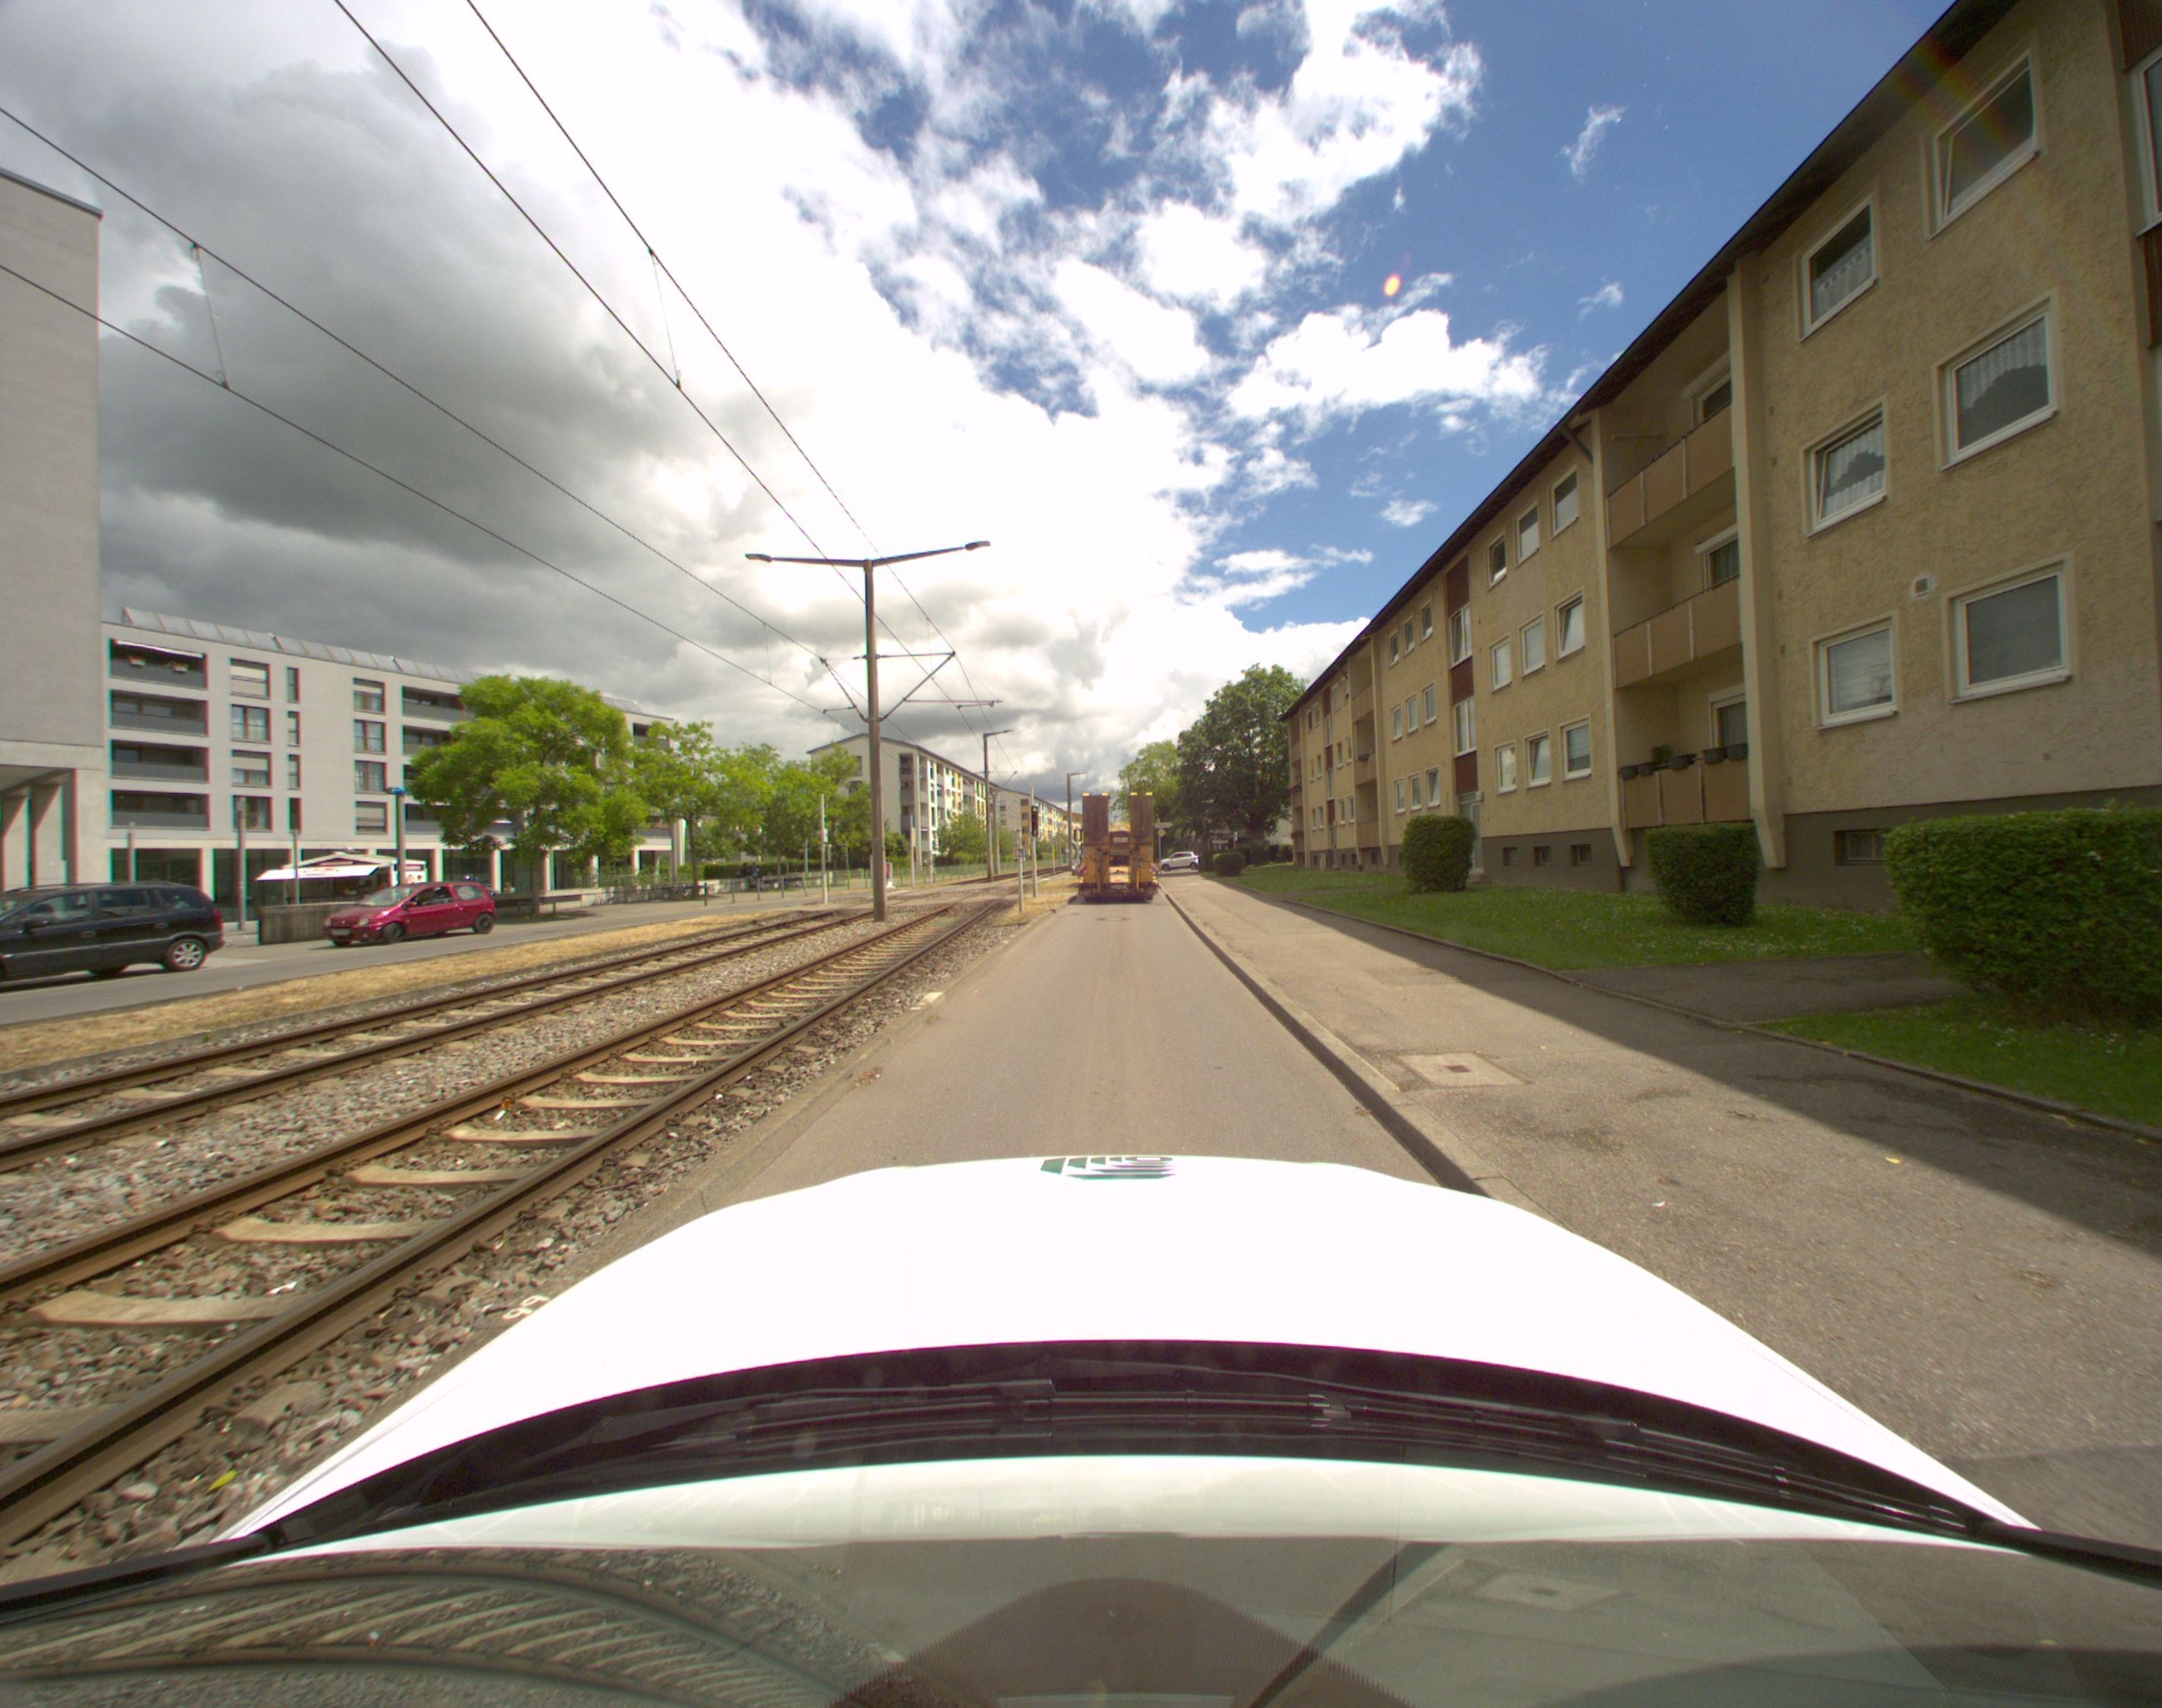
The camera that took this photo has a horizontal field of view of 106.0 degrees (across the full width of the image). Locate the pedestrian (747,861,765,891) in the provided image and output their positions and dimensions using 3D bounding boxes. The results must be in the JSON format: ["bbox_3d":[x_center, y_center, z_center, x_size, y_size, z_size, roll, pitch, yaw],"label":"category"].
[{"bbox_3d":[-17.981,1.214,45.034,0.619,1.573,0.559,-3,0,8],"label":"pedestrian"}]

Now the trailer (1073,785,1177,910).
[{"bbox_3d":[1.490,-0.280,31.397,3.040,3.772,11.615,-3,1,1],"label":"trailer"}]

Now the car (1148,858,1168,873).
[{"bbox_3d":[8.388,1.207,89.177,1.985,1.387,4.003,-3,1,3],"label":"car"}]

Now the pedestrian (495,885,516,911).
[{"bbox_3d":[-25.999,1.990,36.777,0.494,1.096,0.581,-3,0,28],"label":"pedestrian"}]

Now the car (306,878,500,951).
[{"bbox_3d":[-16.800,1.443,20.398,1.603,1.426,3.432,-3,1,9],"label":"car"}]

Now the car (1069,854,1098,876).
[{"bbox_3d":[0.235,0.900,65.908,1.793,1.652,4.138,-3,-1,6],"label":"car"}]

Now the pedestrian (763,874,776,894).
[{"bbox_3d":[-20.122,1.920,52.561,0.539,1.246,0.460,-3,0,24],"label":"pedestrian"}]

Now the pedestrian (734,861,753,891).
[{"bbox_3d":[-18.192,1.183,43.874,0.618,1.573,0.560,-3,0,14],"label":"pedestrian"}]

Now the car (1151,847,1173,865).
[{"bbox_3d":[8.322,0.166,84.198,1.985,1.618,4.003,-3,1,3],"label":"car"}]

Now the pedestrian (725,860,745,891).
[{"bbox_3d":[-18.272,1.147,43.005,0.618,1.573,0.701,-3,0,14],"label":"pedestrian"}]

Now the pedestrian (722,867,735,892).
[{"bbox_3d":[-18.288,1.311,42.268,0.501,1.266,0.496,-4,0,-20],"label":"pedestrian"}]

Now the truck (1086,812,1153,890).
[{"bbox_3d":[1.791,-0.197,40.651,2.824,3.330,7.986,-3,1,1],"label":"truck"}]

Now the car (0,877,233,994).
[{"bbox_3d":[-17.424,1.360,13.575,1.984,1.648,4.107,-3,1,6],"label":"car"}]

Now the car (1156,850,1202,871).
[{"bbox_3d":[8.437,0.544,69.982,3.571,1.584,2.008,-3,-1,15],"label":"car"}]
